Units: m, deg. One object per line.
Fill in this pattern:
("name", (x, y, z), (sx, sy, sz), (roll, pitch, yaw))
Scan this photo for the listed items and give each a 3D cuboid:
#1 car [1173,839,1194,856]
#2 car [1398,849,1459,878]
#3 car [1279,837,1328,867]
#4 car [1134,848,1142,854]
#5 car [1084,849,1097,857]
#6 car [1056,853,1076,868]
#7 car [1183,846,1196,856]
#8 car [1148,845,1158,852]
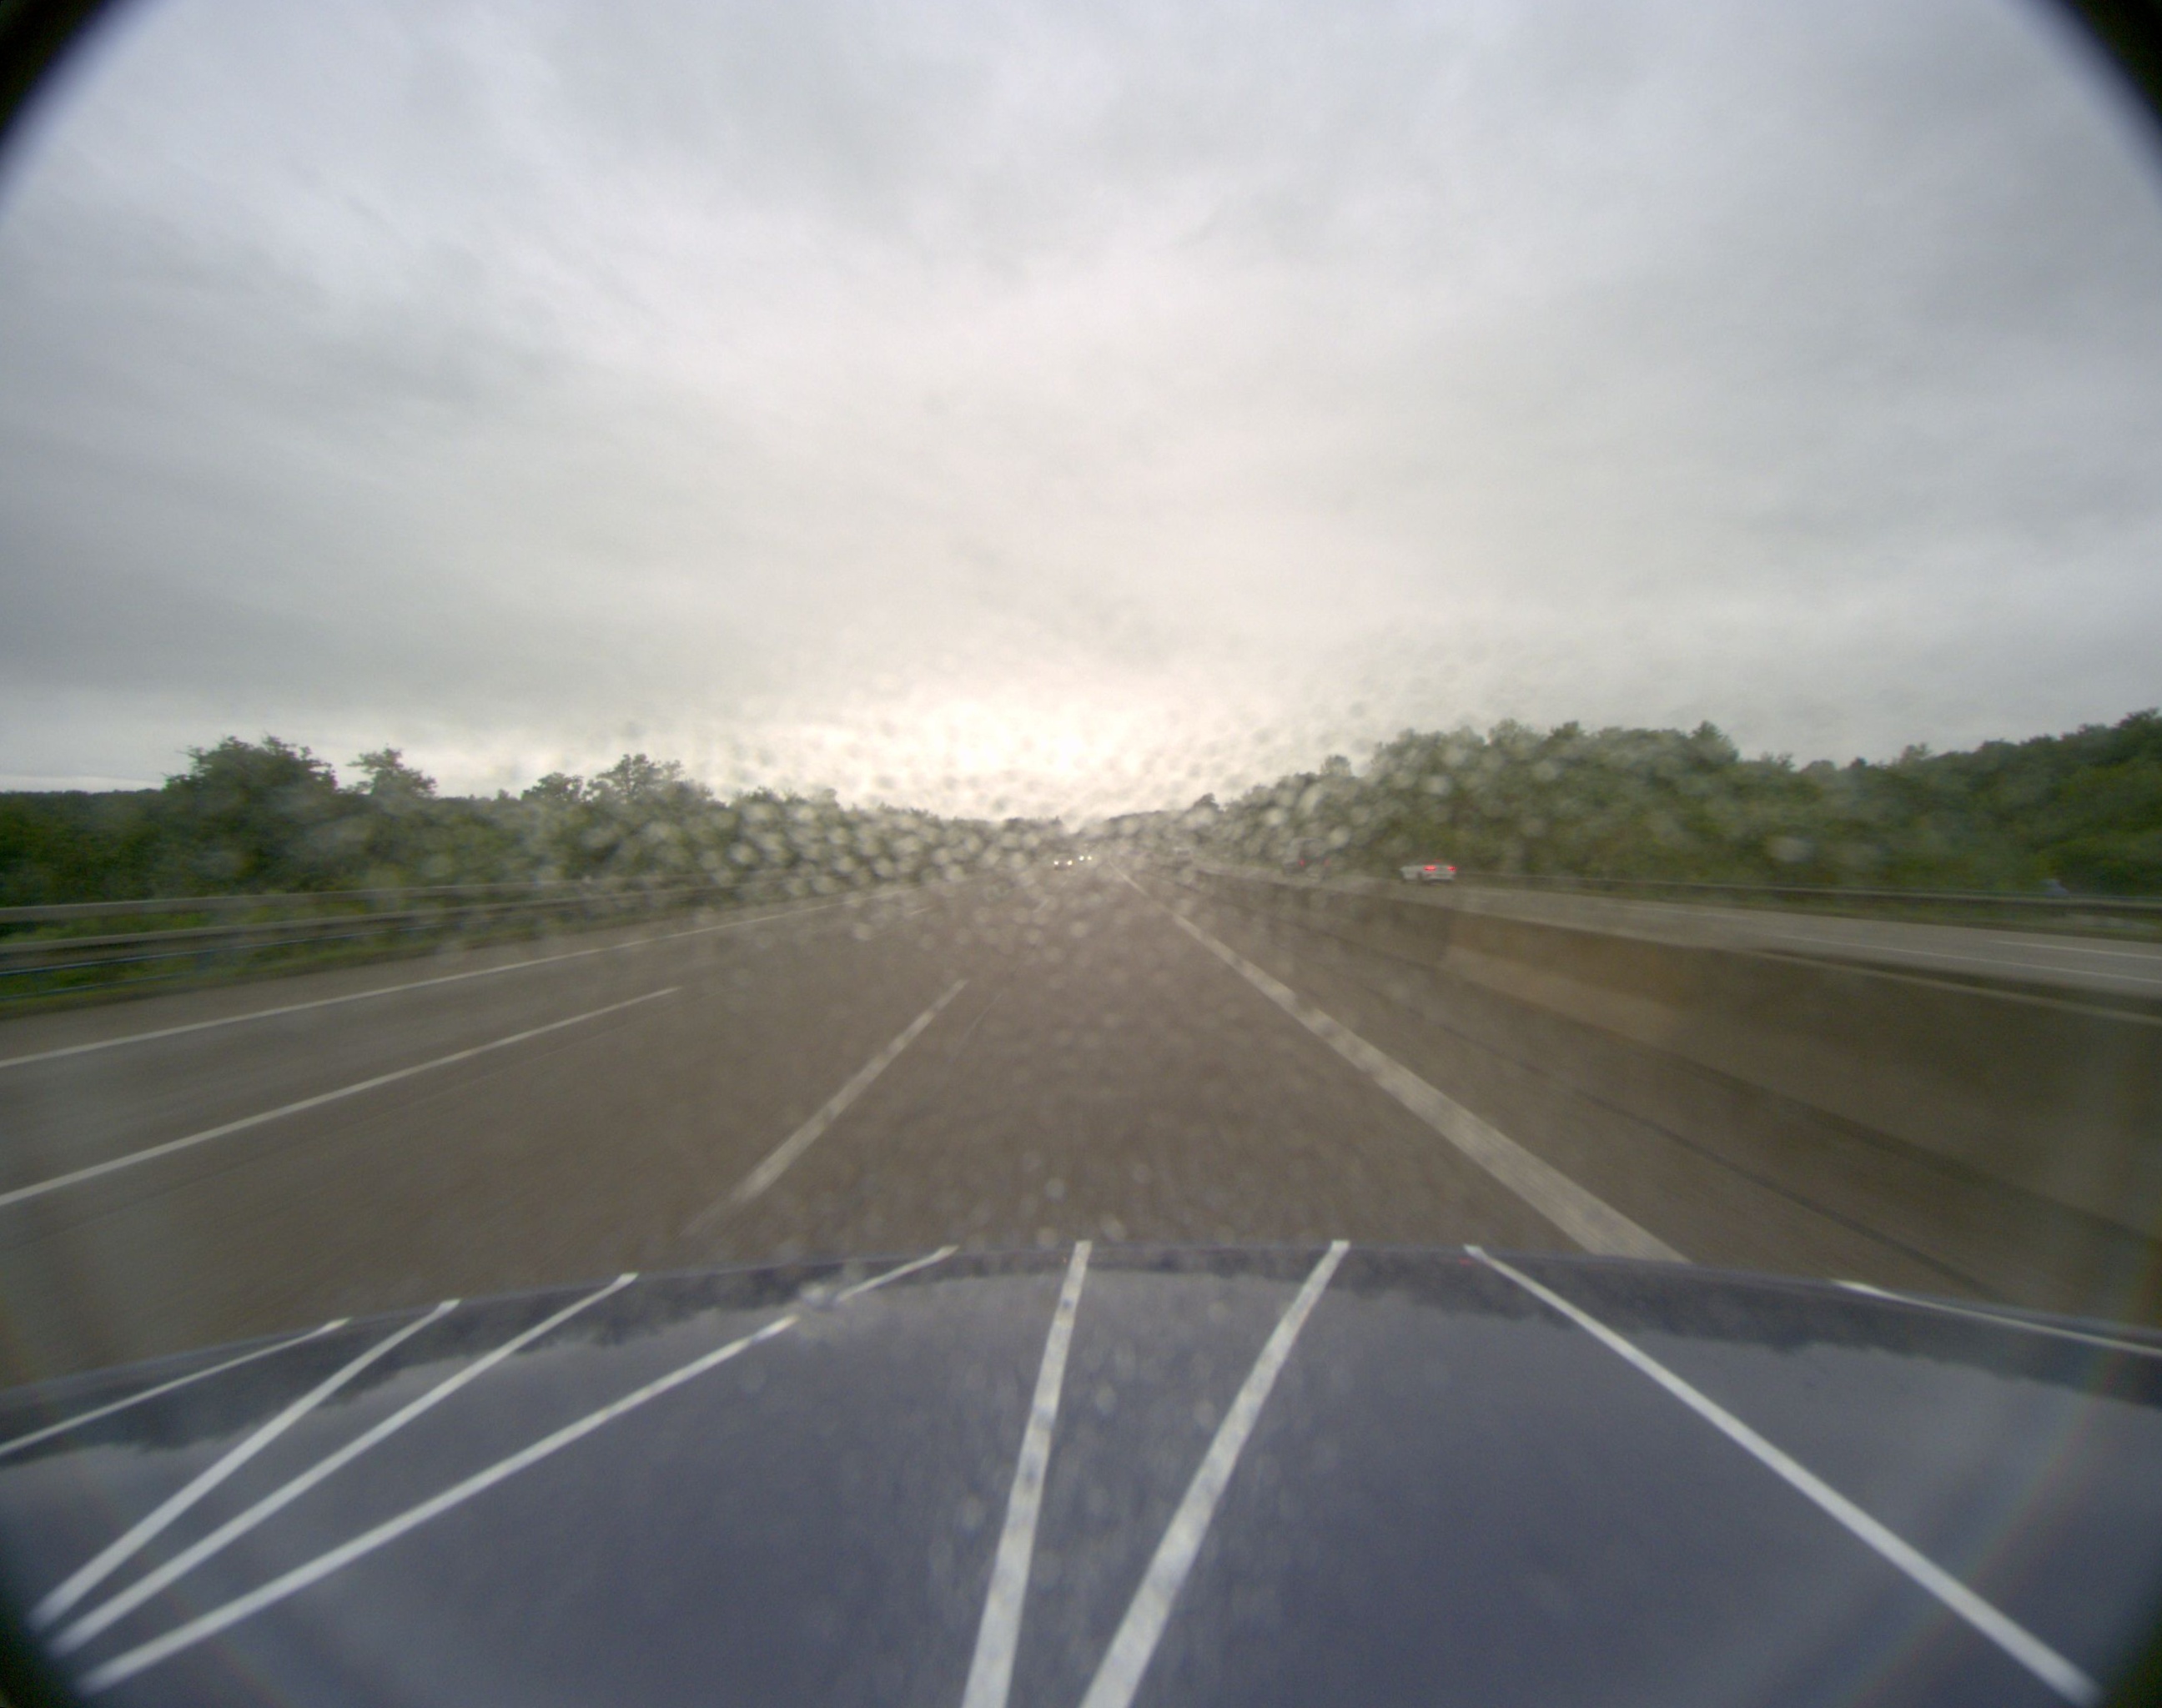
("car", (14.672, -0.908, 109.133), (2.282, 2.317, 6.175), (0, 0, 2))
("car", (20.081, 0.539, 44.098), (1.719, 1.576, 4.145), (0, 1, 1))
("car", (16.925, -0.166, 58.198), (1.998, 2.155, 6.416), (0, 1, 1))
("car", (12.996, -0.694, 172.004), (1.638, 1.404, 4.367), (0, 1, 2))
("car", (1.730, -0.211, 136.702), (2.008, 1.456, 4.000), (0, 1, 4))
("car", (-1.617, 0.678, 81.569), (1.932, 1.521, 4.298), (0, 0, 2))
("car", (19.618, -0.526, 137.692), (1.746, 1.893, 4.530), (0, 1, 1))
("car", (17.629, -1.302, 186.281), (1.998, 1.678, 4.916), (0, 1, 1))
